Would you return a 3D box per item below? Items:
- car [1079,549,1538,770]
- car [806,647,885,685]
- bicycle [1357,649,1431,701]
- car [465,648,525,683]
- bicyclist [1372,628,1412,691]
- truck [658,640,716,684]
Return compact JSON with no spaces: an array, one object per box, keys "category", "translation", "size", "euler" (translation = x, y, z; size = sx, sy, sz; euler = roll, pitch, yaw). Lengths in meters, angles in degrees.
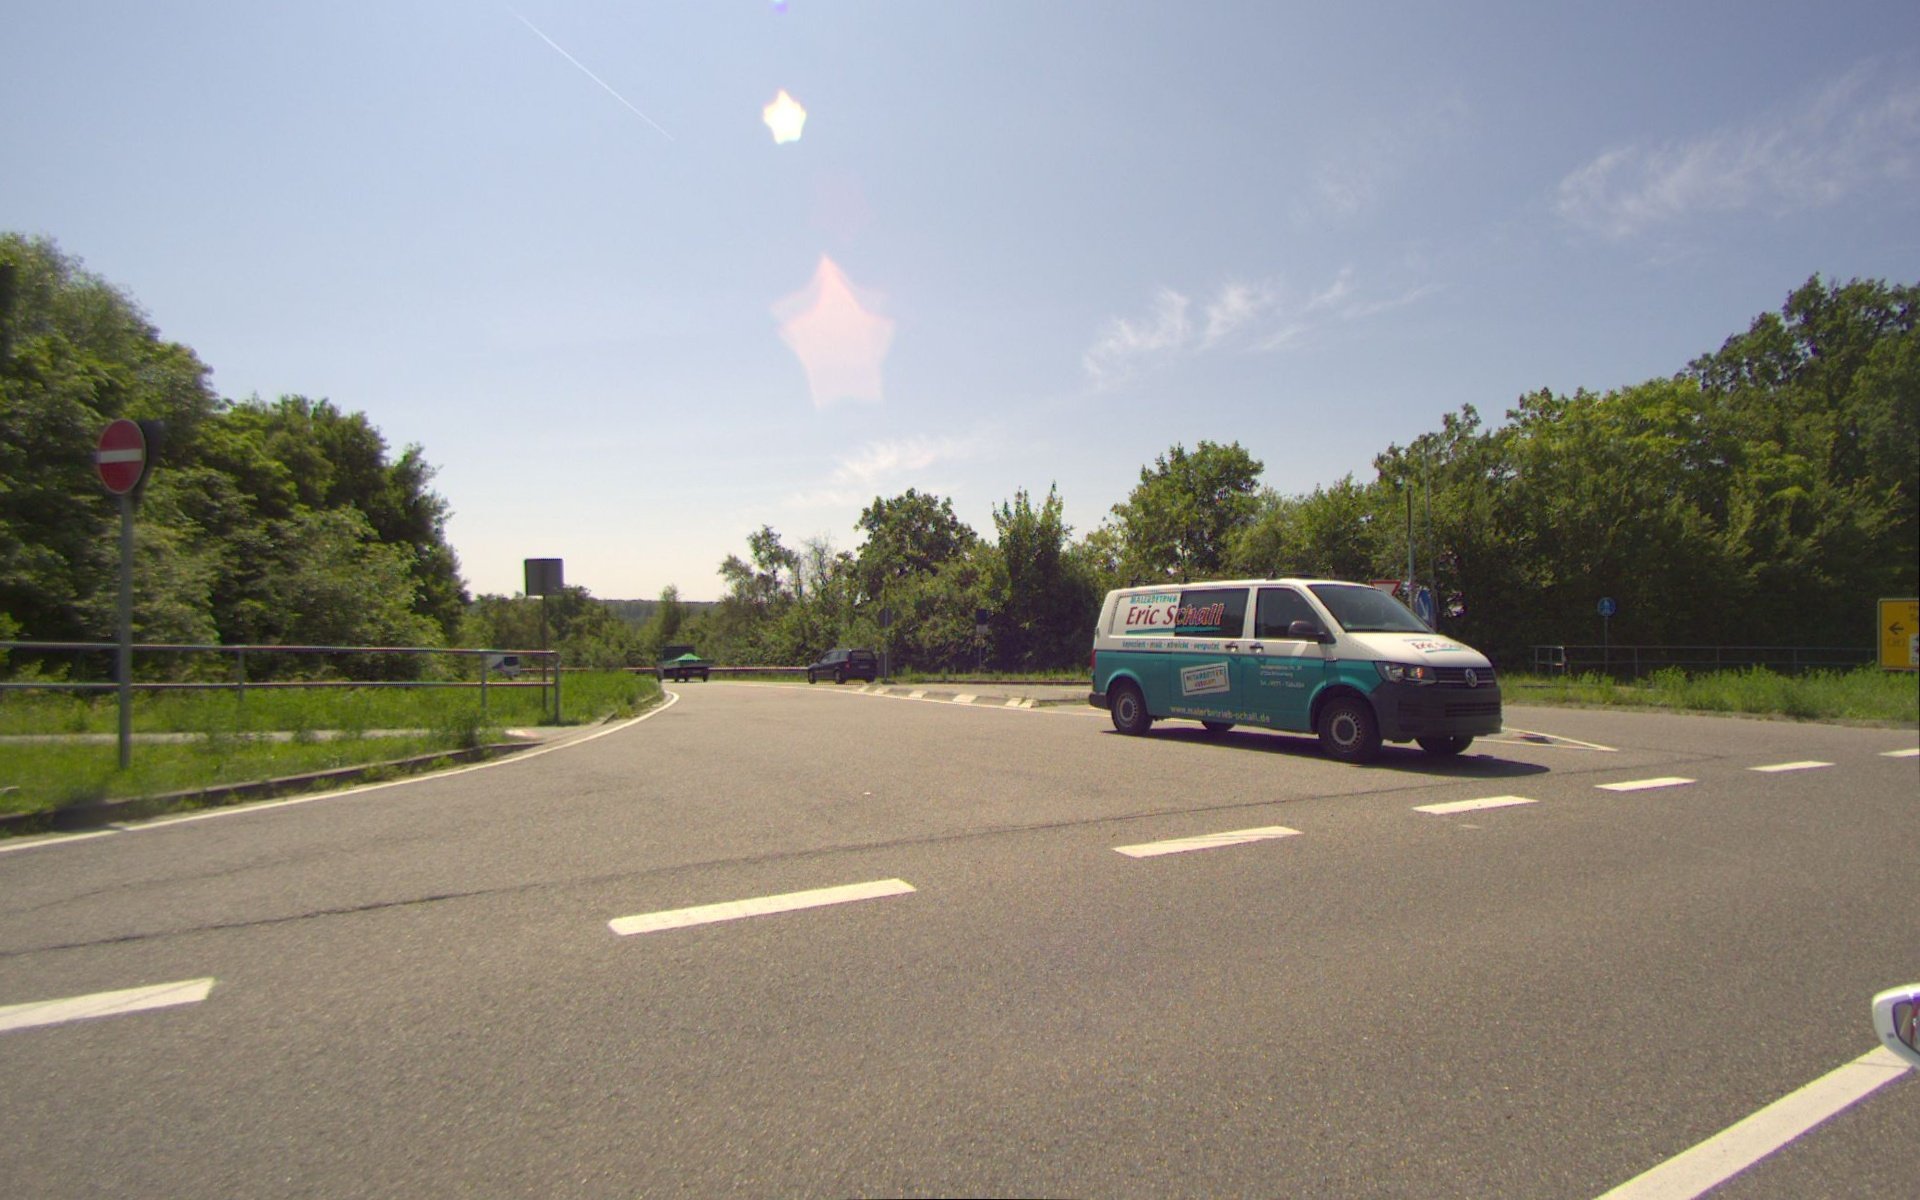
[{"category":"car","translation":[3.807,0.667,12.086],"size":[1.978,2.054,5.144],"euler":[1,-3,-31]},{"category":"car","translation":[-4.855,2.731,42.289],"size":[1.709,1.476,3.760],"euler":[1,-2,-35]},{"category":"bicycle","translation":[9.671,1.665,22.390],"size":[1.452,1.128,0.437],"euler":[0,-1,5]},{"category":"car","translation":[-42.119,5.963,90.863],"size":[5.913,2.886,2.106],"euler":[-5,-4,34]},{"category":"bicyclist","translation":[9.627,1.317,22.399],"size":[0.597,1.381,0.690],"euler":[1,-1,5]},{"category":"truck","translation":[-17.228,3.958,63.161],"size":[2.119,2.598,6.595],"euler":[2,-5,-27]}]
